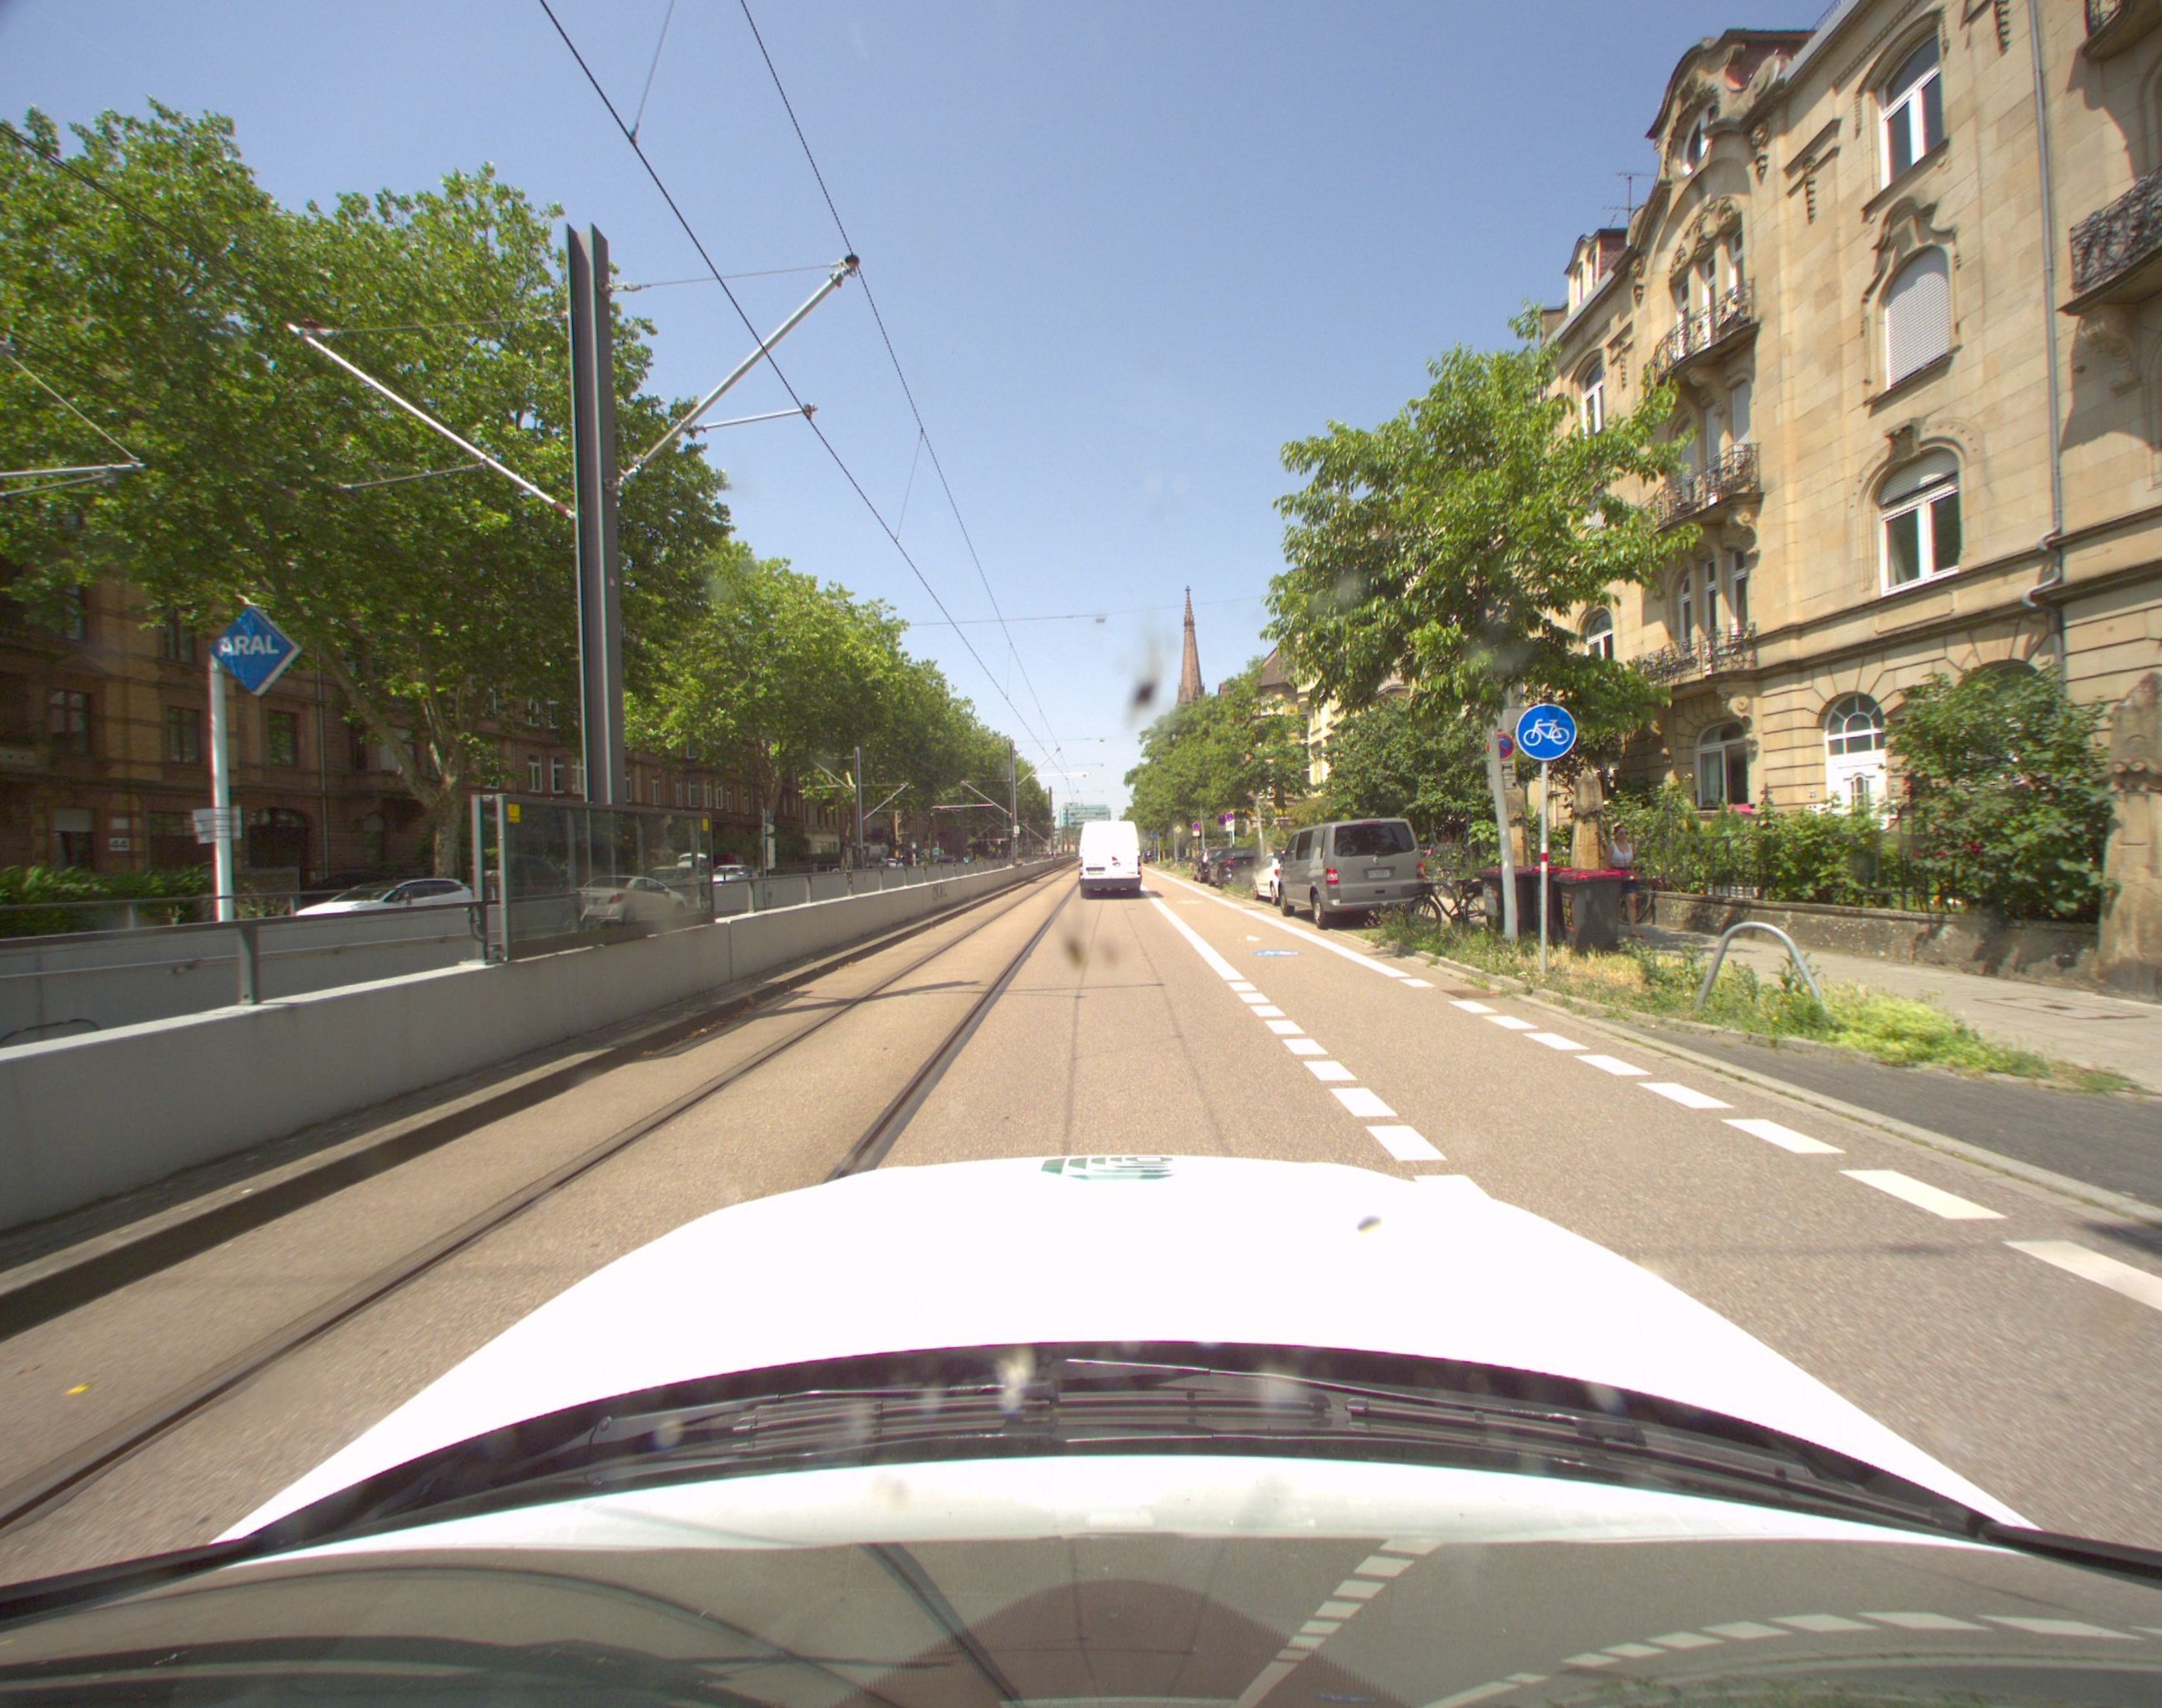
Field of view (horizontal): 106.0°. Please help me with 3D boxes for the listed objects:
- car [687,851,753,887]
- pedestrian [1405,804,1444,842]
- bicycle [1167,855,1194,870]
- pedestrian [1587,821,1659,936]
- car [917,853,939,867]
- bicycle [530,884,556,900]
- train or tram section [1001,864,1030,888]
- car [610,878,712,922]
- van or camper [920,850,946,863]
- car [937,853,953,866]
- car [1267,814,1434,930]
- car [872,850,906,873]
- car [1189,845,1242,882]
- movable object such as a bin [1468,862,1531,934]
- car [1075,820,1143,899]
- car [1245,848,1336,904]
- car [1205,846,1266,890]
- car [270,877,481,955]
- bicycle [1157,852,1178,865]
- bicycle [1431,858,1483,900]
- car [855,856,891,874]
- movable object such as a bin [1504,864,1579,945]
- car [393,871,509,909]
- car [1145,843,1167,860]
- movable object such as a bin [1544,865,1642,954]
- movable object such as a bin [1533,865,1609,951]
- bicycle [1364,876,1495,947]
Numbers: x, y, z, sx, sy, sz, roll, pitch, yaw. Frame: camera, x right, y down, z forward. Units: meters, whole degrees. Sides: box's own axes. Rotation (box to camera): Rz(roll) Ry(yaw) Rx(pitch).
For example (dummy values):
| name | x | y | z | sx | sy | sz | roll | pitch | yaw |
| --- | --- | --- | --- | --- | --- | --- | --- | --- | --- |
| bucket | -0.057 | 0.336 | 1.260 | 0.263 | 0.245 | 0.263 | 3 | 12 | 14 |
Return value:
| name | x | y | z | sx | sy | sz | roll | pitch | yaw |
| --- | --- | --- | --- | --- | --- | --- | --- | --- | --- |
| car | -18.414 | 0.719 | 41.682 | 1.648 | 1.684 | 3.707 | -1 | 0 | 1 |
| pedestrian | 10.062 | -0.899 | 23.902 | 0.861 | 1.070 | 0.762 | -1 | 0 | 5 |
| bicycle | 6.855 | 0.561 | 56.229 | 1.835 | 0.953 | 0.503 | -2 | 0 | 3 |
| pedestrian | 7.815 | 0.336 | 11.771 | 0.549 | 1.598 | 0.728 | -1 | 0 | 4 |
| car | -17.231 | 0.646 | 92.007 | 1.586 | 1.448 | 4.002 | -1 | 0 | 2 |
| bicycle | -24.825 | 1.753 | 37.581 | 0.279 | 0.650 | 1.344 | -2 | 0 | 0 |
| train or tram section | -7.605 | 2.492 | 95.397 | 2.720 | 2.508 | 8.515 | -1 | 0 | 0 |
| car | -18.472 | 1.968 | 36.124 | 1.987 | 1.624 | 4.719 | -1 | 0 | 1 |
| van or camper | -24.559 | 0.445 | 135.391 | 3.976 | 2.013 | 1.999 | -2 | 0 | -2 |
| car | -16.699 | 0.655 | 100.080 | 1.368 | 1.423 | 3.090 | -2 | 0 | 2 |
| car | 5.300 | 0.302 | 16.756 | 1.872 | 1.947 | 4.838 | -3 | 0 | 2 |
| car | -17.254 | 0.659 | 73.520 | 1.987 | 1.904 | 4.149 | -1 | 0 | 1 |
| car | 6.007 | 0.392 | 36.901 | 1.723 | 1.536 | 4.405 | -1 | 0 | 1 |
| movable object such as a bin | 6.184 | 0.639 | 12.056 | 0.595 | 1.011 | 0.564 | -1 | 0 | -9 |
| car | 0.916 | 0.156 | 28.410 | 2.110 | 2.459 | 5.054 | -1 | 0 | 0 |
| car | 5.796 | 0.550 | 22.954 | 1.605 | 1.405 | 4.002 | -2 | 0 | 2 |
| car | 5.893 | 0.479 | 31.421 | 1.661 | 1.530 | 4.014 | -2 | 0 | 2 |
| car | -17.075 | 1.423 | 19.991 | 1.537 | 1.561 | 3.884 | -1 | 0 | 5 |
| bicycle | 8.142 | 0.431 | 76.398 | 1.881 | 1.182 | 0.640 | -2 | 0 | -1 |
| bicycle | 8.620 | 0.552 | 18.735 | 0.438 | 0.880 | 1.635 | -2 | 0 | 1 |
| car | -17.440 | 0.903 | 68.469 | 1.845 | 1.401 | 4.198 | -1 | 0 | 1 |
| movable object such as a bin | 6.252 | 0.676 | 11.084 | 0.742 | 1.062 | 0.497 | -1 | 0 | 7 |
| car | -26.386 | 1.489 | 34.212 | 3.473 | 1.425 | 1.651 | -2 | 0 | -3 |
| car | 7.920 | -0.260 | 86.026 | 2.147 | 1.670 | 4.004 | -1 | 0 | 4 |
| movable object such as a bin | 6.150 | 0.657 | 9.819 | 0.783 | 1.014 | 0.651 | -1 | 0 | 7 |
| movable object such as a bin | 6.295 | 0.687 | 10.492 | 0.665 | 1.062 | 0.497 | -2 | 0 | 7 |
| bicycle | 5.381 | 0.866 | 12.578 | 1.880 | 0.991 | 0.469 | -2 | 0 | -9 |
